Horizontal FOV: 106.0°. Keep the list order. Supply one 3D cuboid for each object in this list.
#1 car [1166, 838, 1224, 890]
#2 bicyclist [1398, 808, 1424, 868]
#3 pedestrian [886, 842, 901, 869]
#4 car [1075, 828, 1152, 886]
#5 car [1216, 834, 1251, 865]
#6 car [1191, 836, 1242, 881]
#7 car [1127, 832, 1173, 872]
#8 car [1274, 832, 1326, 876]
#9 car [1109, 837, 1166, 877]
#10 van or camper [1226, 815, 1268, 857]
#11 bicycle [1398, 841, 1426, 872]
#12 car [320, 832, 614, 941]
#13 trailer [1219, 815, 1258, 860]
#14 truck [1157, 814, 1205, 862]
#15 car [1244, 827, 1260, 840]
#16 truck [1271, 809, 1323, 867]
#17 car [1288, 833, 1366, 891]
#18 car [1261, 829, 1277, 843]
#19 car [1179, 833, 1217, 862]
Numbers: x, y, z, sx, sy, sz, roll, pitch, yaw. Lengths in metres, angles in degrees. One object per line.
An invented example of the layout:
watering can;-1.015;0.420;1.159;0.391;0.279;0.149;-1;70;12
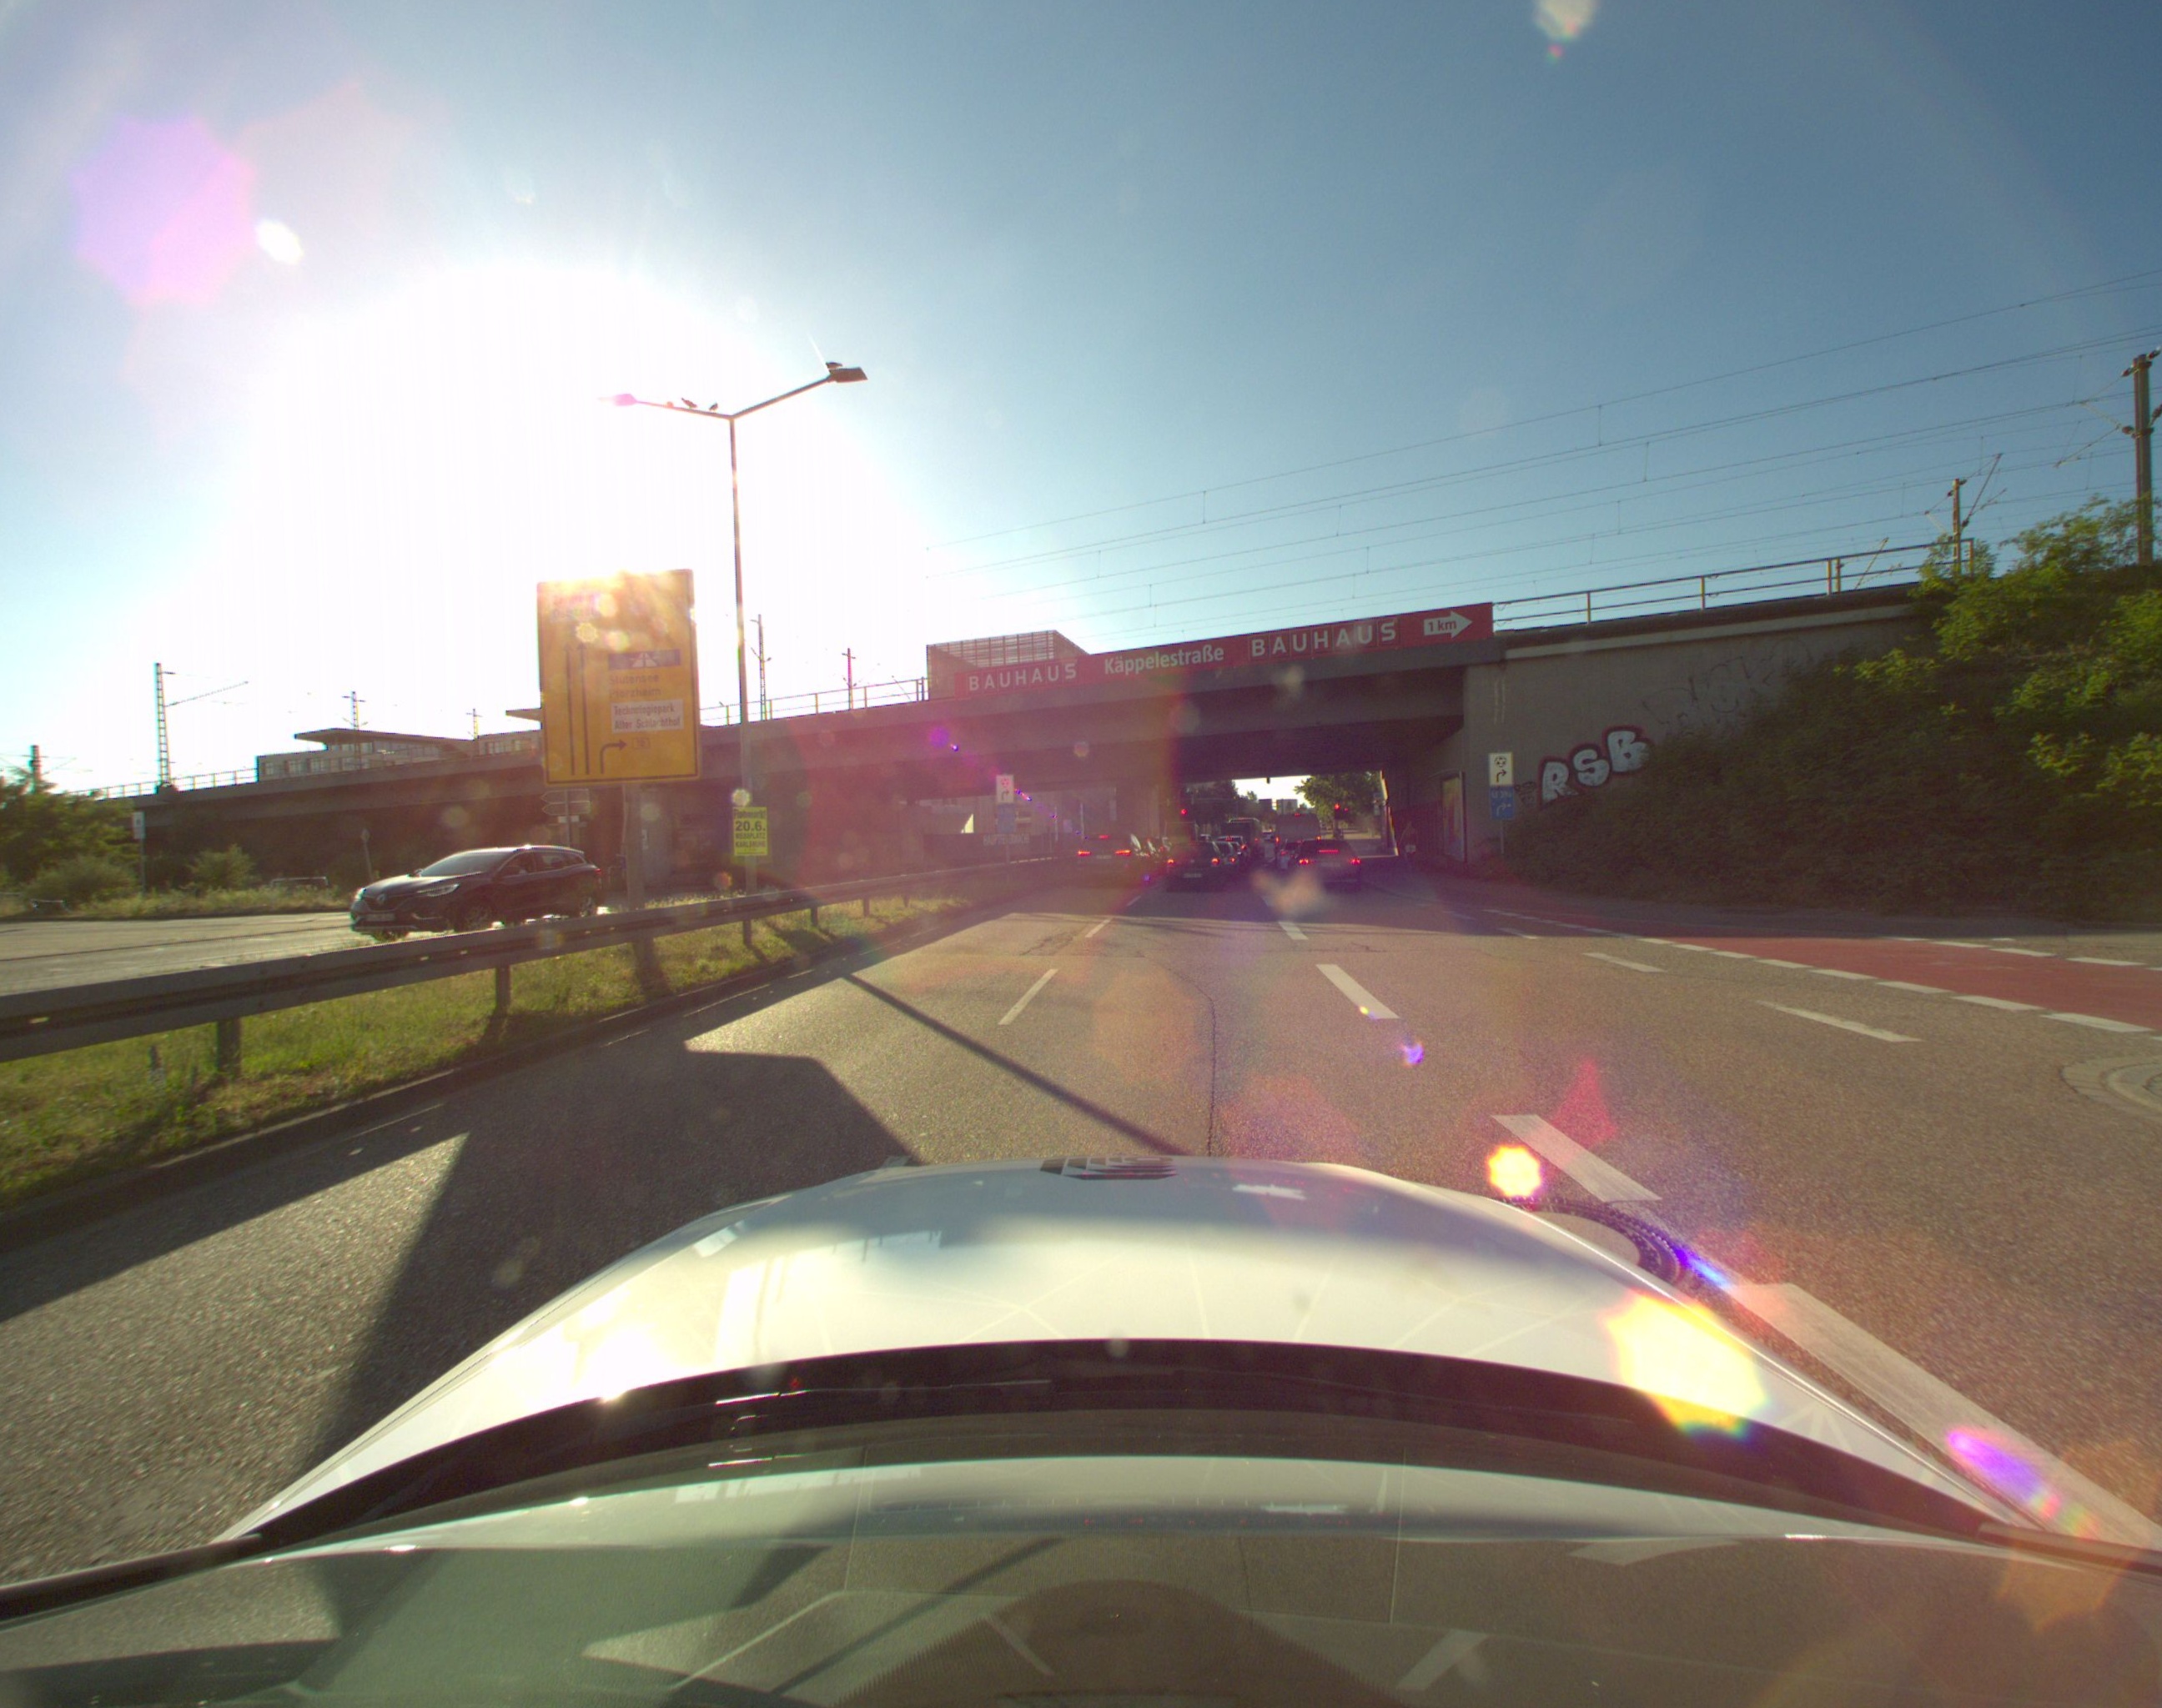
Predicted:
car;3.485;0.275;24.517;1.572;1.408;3.842;-1;0;10
bicyclist;10.862;-0.522;26.815;0.676;1.907;0.837;-1;0;17
pedestrian;-13.292;0.110;57.737;0.689;1.903;0.668;-2;0;15
car;1.180;0.072;27.133;1.817;1.738;4.476;-2;0;11
car;7.914;-0.237;42.069;1.570;1.532;3.846;-1;0;14
car;4.947;0.124;29.450;1.536;1.423;3.429;-5;0;13
car;3.387;-0.102;39.335;1.831;1.719;4.010;-5;0;9
car;8.339;-0.003;31.219;1.760;1.495;3.846;-3;0;13
car;2.379;0.105;33.590;1.829;1.440;3.686;-5;0;11
van or camper;11.004;-1.137;53.633;1.978;2.570;5.945;-1;0;18
bicycle;10.915;0.070;26.945;0.574;0.963;2.899;-2;0;17
car;-11.108;0.517;15.244;1.838;1.603;4.399;-5;0;4
trailer;9.362;-0.952;48.205;1.850;2.465;3.848;-3;0;15
truck;5.833;-0.874;46.905;2.013;2.556;5.559;-1;0;14
car;22.305;-2.601;105.949;1.787;1.604;3.755;-2;0;15
truck;10.263;-0.755;38.961;2.097;2.519;4.416;-3;0;12
car;7.093;0.172;23.860;1.729;1.454;4.621;-1;2;11
car;23.174;-2.206;100.324;1.787;1.604;4.016;-2;0;15
car;8.061;-0.440;55.796;1.978;1.901;4.017;-2;0;15
